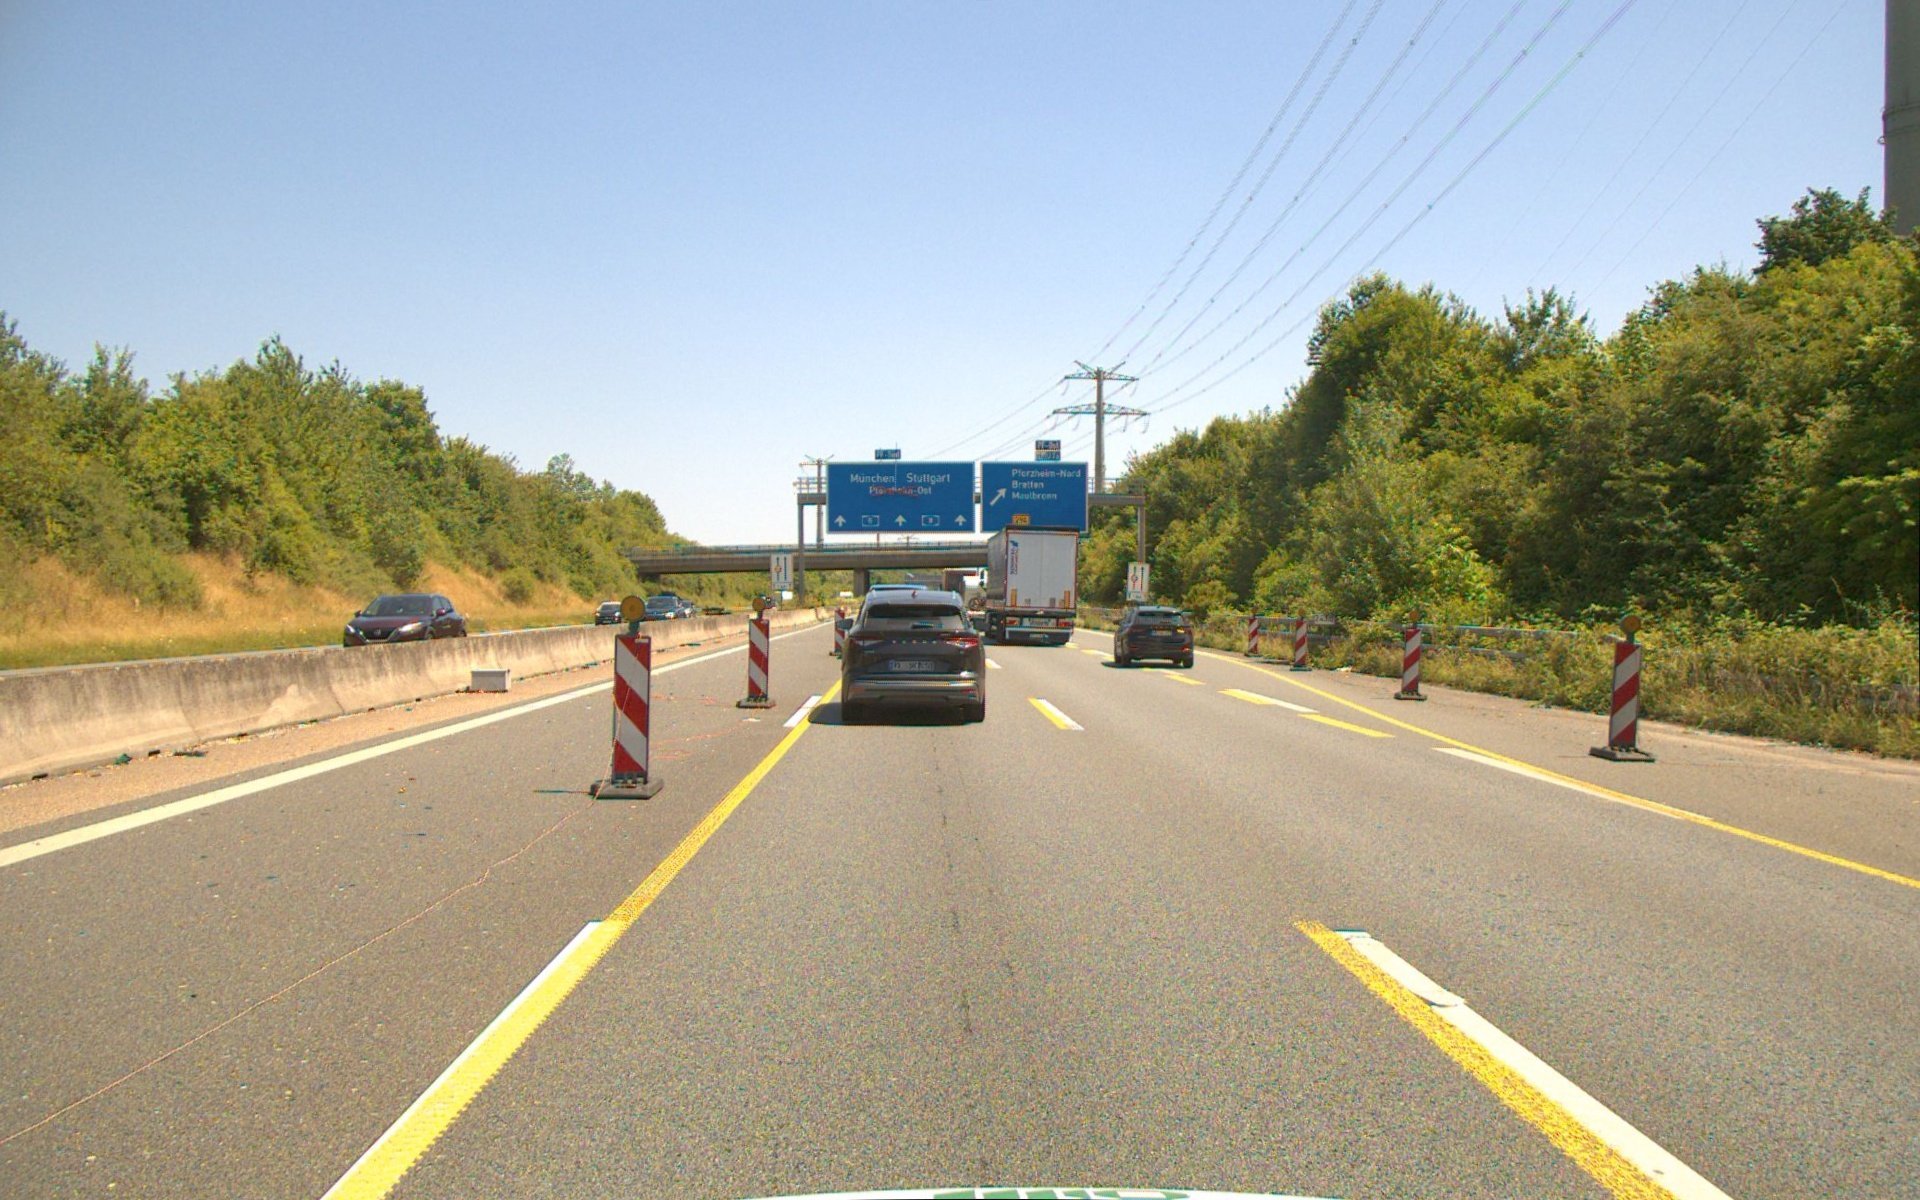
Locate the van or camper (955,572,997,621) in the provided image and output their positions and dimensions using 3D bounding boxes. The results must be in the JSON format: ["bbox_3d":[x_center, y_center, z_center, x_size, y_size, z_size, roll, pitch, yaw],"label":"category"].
[{"bbox_3d":[1.007,-0.229,105.924,2.534,3.020,6.084,1,0,-1],"label":"van or camper"}]

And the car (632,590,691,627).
[{"bbox_3d":[-13.672,0.398,75.933,1.953,1.628,4.581,-1,0,-1],"label":"car"}]

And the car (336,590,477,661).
[{"bbox_3d":[-12.415,0.540,37.390,1.811,1.486,4.487,-1,0,-2],"label":"car"}]

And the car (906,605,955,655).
[{"bbox_3d":[-1.041,1.047,60.247,1.637,1.657,4.690,2,0,0],"label":"car"}]

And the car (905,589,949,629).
[{"bbox_3d":[-1.536,0.389,75.736,1.858,1.535,4.441,3,2,-3],"label":"car"}]

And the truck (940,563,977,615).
[{"bbox_3d":[-0.159,-0.915,142.496,3.015,4.219,13.052,1,0,0],"label":"truck"}]

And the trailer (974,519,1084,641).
[{"bbox_3d":[2.392,-0.692,61.927,3.004,4.113,11.480,1,0,-3],"label":"trailer"}]

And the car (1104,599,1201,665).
[{"bbox_3d":[4.738,0.758,41.319,1.743,1.515,4.462,2,0,-2],"label":"car"}]

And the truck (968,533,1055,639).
[{"bbox_3d":[2.047,-0.567,68.782,2.964,4.159,7.791,0,0,-3],"label":"truck"}]

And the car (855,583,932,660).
[{"bbox_3d":[-1.755,0.527,43.473,1.858,1.873,4.440,2,0,-2],"label":"car"}]

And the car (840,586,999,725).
[{"bbox_3d":[-0.572,0.641,21.783,1.857,1.620,4.440,1,0,-3],"label":"car"}]

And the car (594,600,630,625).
[{"bbox_3d":[-21.723,0.781,103.421,1.542,1.490,3.777,0,0,-1],"label":"car"}]
